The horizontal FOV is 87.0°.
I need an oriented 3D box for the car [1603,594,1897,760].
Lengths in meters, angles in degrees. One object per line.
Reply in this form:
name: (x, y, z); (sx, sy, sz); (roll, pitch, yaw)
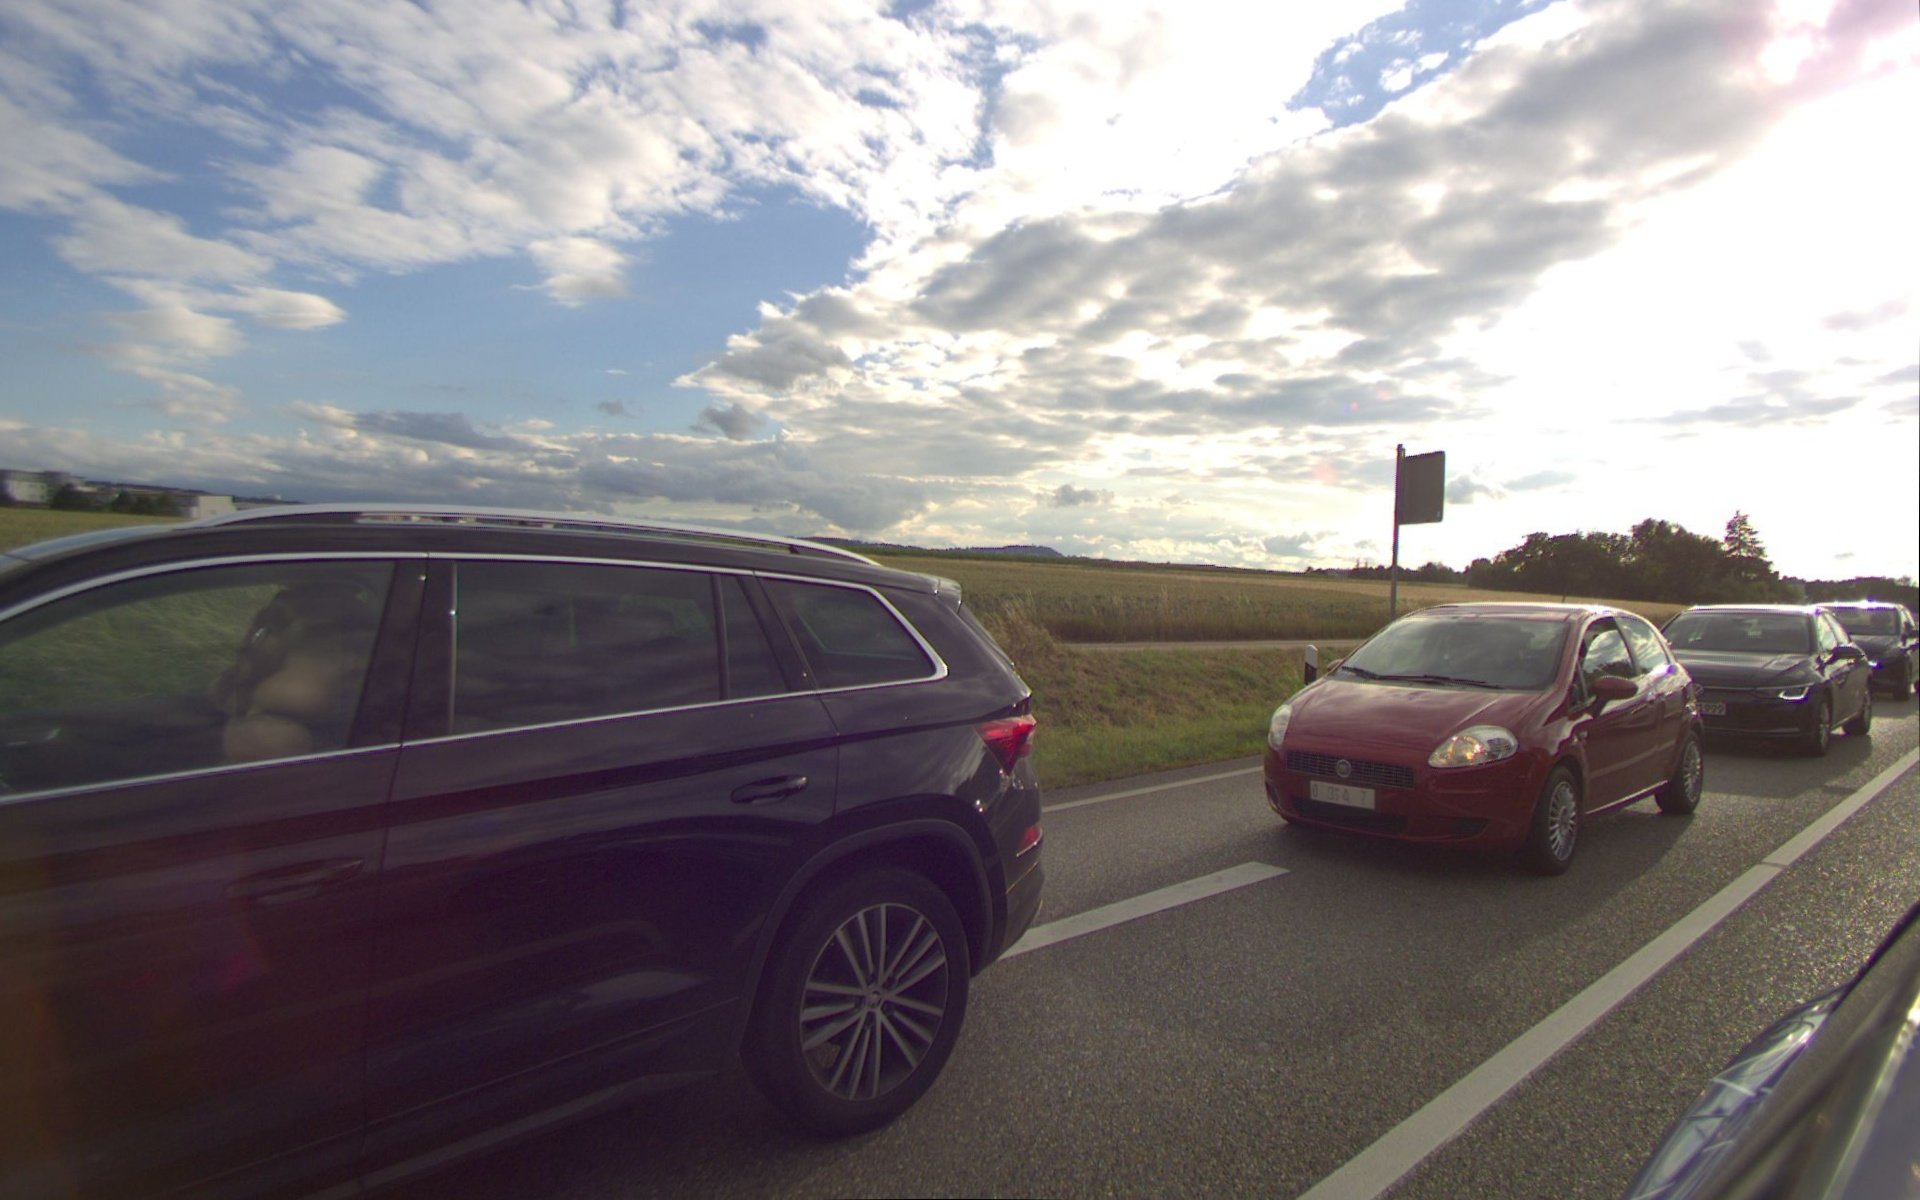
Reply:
car: (8.714, 0.682, 11.056); (3.962, 1.475, 1.797); (0, 0, -41)

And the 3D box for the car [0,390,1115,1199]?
car: (-1.781, 0.531, 2.560); (4.477, 1.730, 1.839); (-1, 0, -41)

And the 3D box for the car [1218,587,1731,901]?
car: (3.561, 0.667, 6.708); (3.840, 1.475, 1.710); (-1, 0, -41)

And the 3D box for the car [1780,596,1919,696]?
car: (15.272, 0.672, 16.895); (3.962, 1.475, 1.797); (0, 0, -41)
